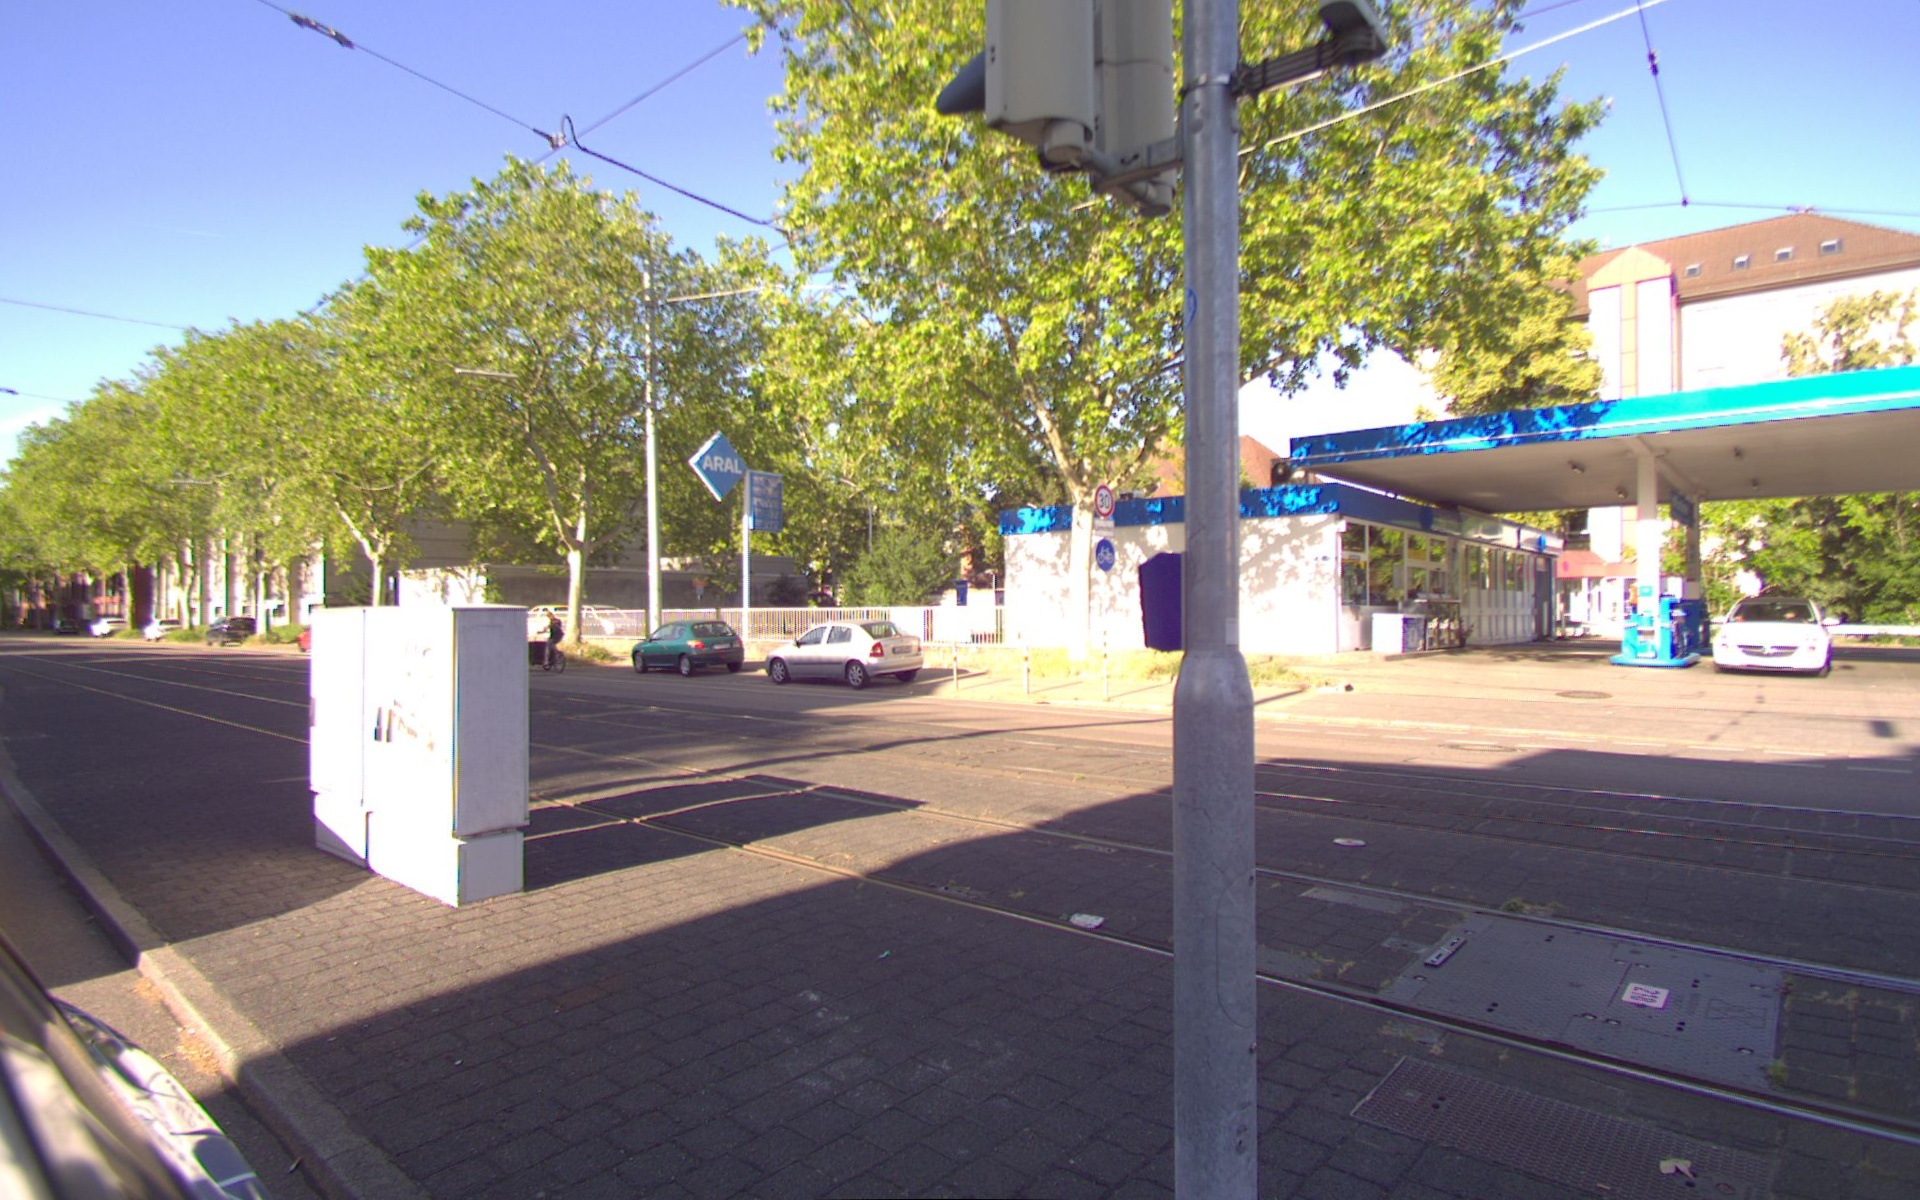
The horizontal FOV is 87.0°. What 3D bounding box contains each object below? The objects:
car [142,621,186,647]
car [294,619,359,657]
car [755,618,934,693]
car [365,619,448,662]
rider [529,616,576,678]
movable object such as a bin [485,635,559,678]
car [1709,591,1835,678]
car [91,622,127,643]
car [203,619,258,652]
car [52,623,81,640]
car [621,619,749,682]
[{"bbox_3d":[-53.707,2.280,68.255,3.878,1.552,1.731,-1,2,43],"label":"car"},{"bbox_3d":[-28.785,1.696,45.933,3.377,1.506,1.639,-1,2,43],"label":"car"},{"bbox_3d":[-2.639,1.183,22.604,3.987,1.376,1.666,-2,3,41],"label":"car"},{"bbox_3d":[-21.870,1.562,39.932,3.769,1.455,1.701,-1,2,43],"label":"car"},{"bbox_3d":[-11.165,1.264,27.704,1.104,1.660,0.717,-1,0,36],"label":"rider"},{"bbox_3d":[-12.347,1.560,28.537,1.831,1.111,1.164,-1,0,36],"label":"movable object such as a bin"},{"bbox_3d":[15.876,0.595,19.715,1.743,1.446,3.882,-1,1,41],"label":"car"},{"bbox_3d":[-66.793,2.495,79.423,3.731,1.471,1.639,-1,2,43],"label":"car"},{"bbox_3d":[-40.746,1.951,56.497,3.878,1.603,1.731,-1,2,43],"label":"car"},{"bbox_3d":[-85.040,3.006,96.344,3.731,1.471,1.639,-1,2,43],"label":"car"},{"bbox_3d":[-7.366,1.290,26.976,3.606,1.455,1.598,-1,2,43],"label":"car"}]
